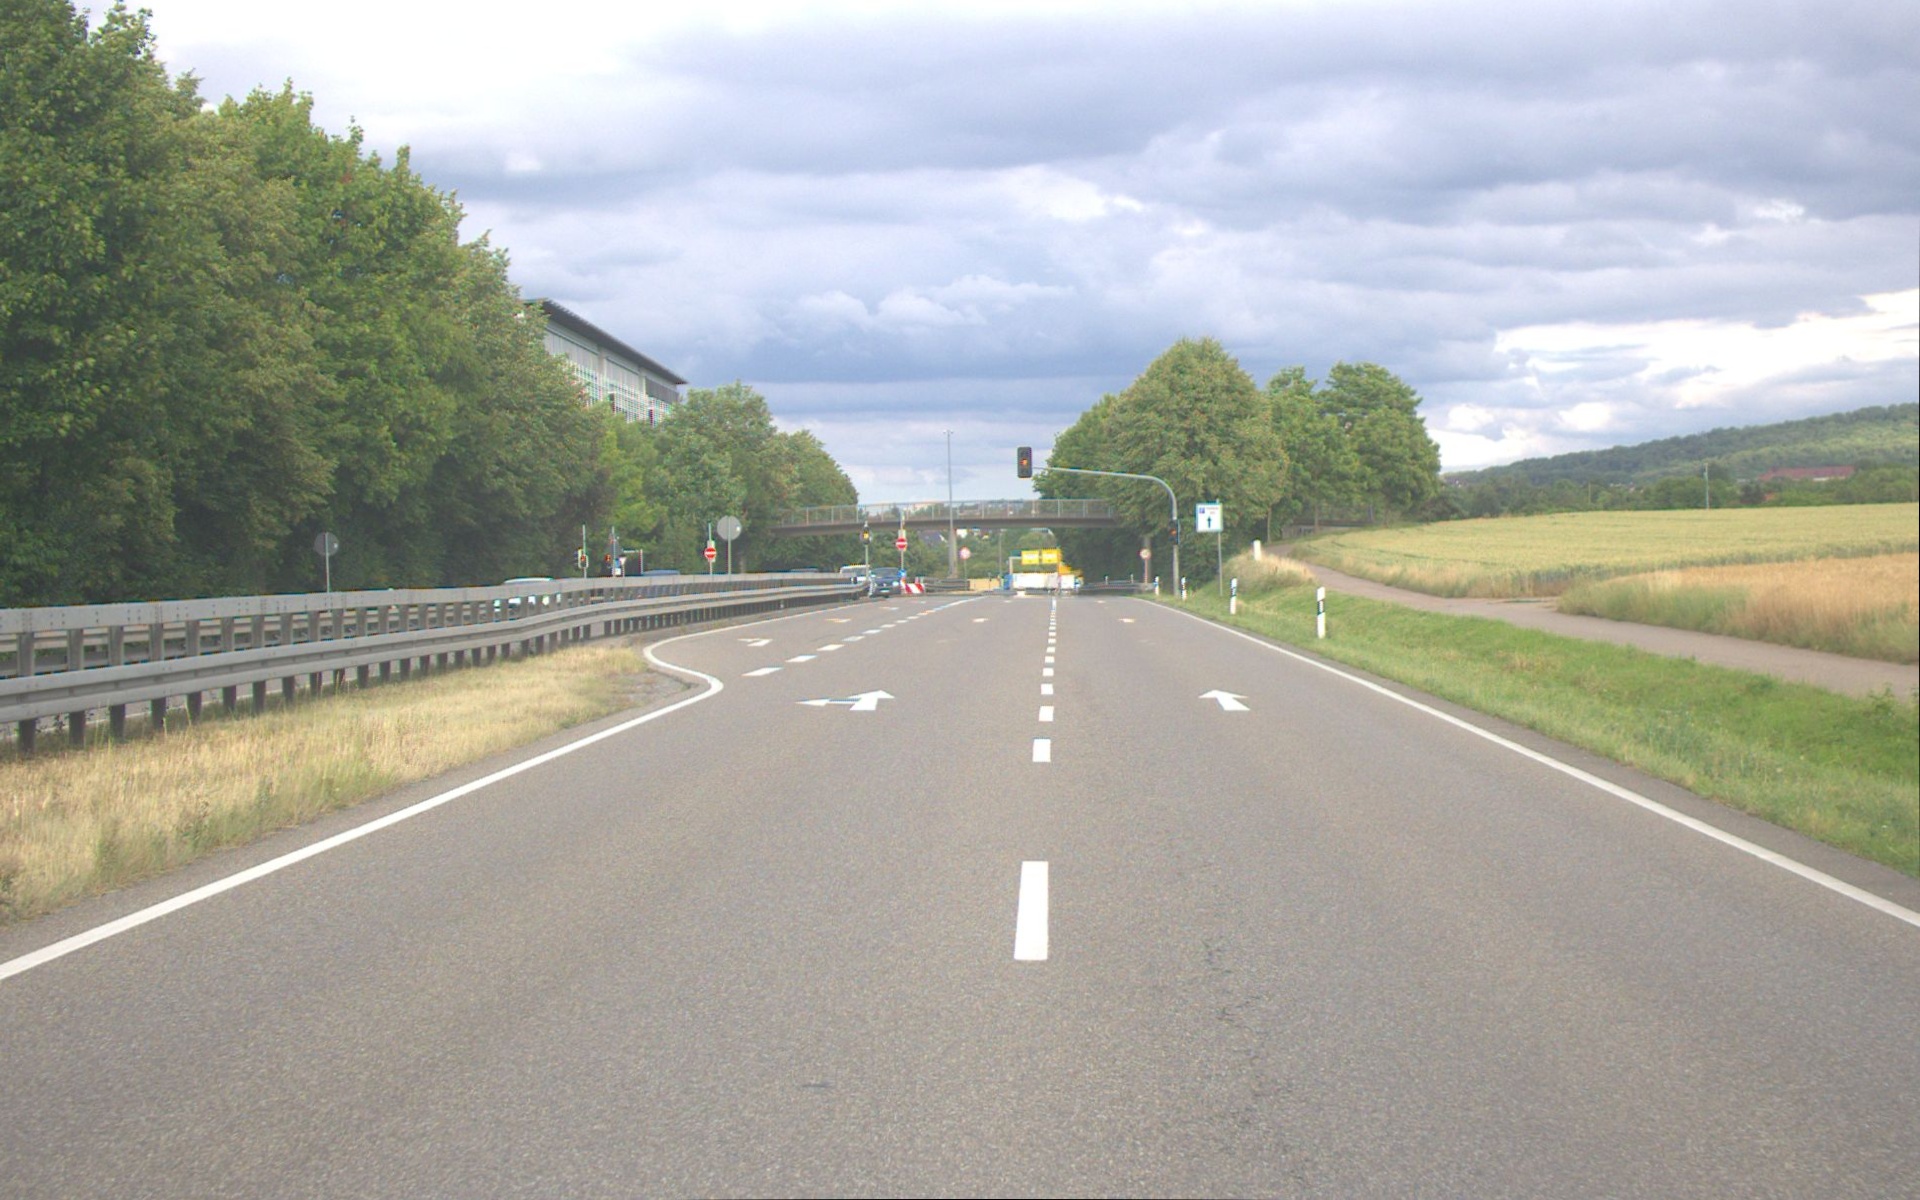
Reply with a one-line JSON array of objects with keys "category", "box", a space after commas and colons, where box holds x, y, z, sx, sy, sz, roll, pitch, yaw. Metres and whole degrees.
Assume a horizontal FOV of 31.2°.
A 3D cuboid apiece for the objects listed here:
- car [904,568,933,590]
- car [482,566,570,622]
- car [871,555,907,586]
[{"category": "car", "box": [-2.206, -1.130, 184.039, 1.358, 1.088, 2.921, -1, 1, 3]}, {"category": "car", "box": [-11.897, -0.181, 94.387, 1.759, 1.408, 4.459, -1, 1, 1]}, {"category": "car", "box": [-4.370, -1.831, 212.527, 1.994, 1.867, 4.736, -1, 1, 2]}]
